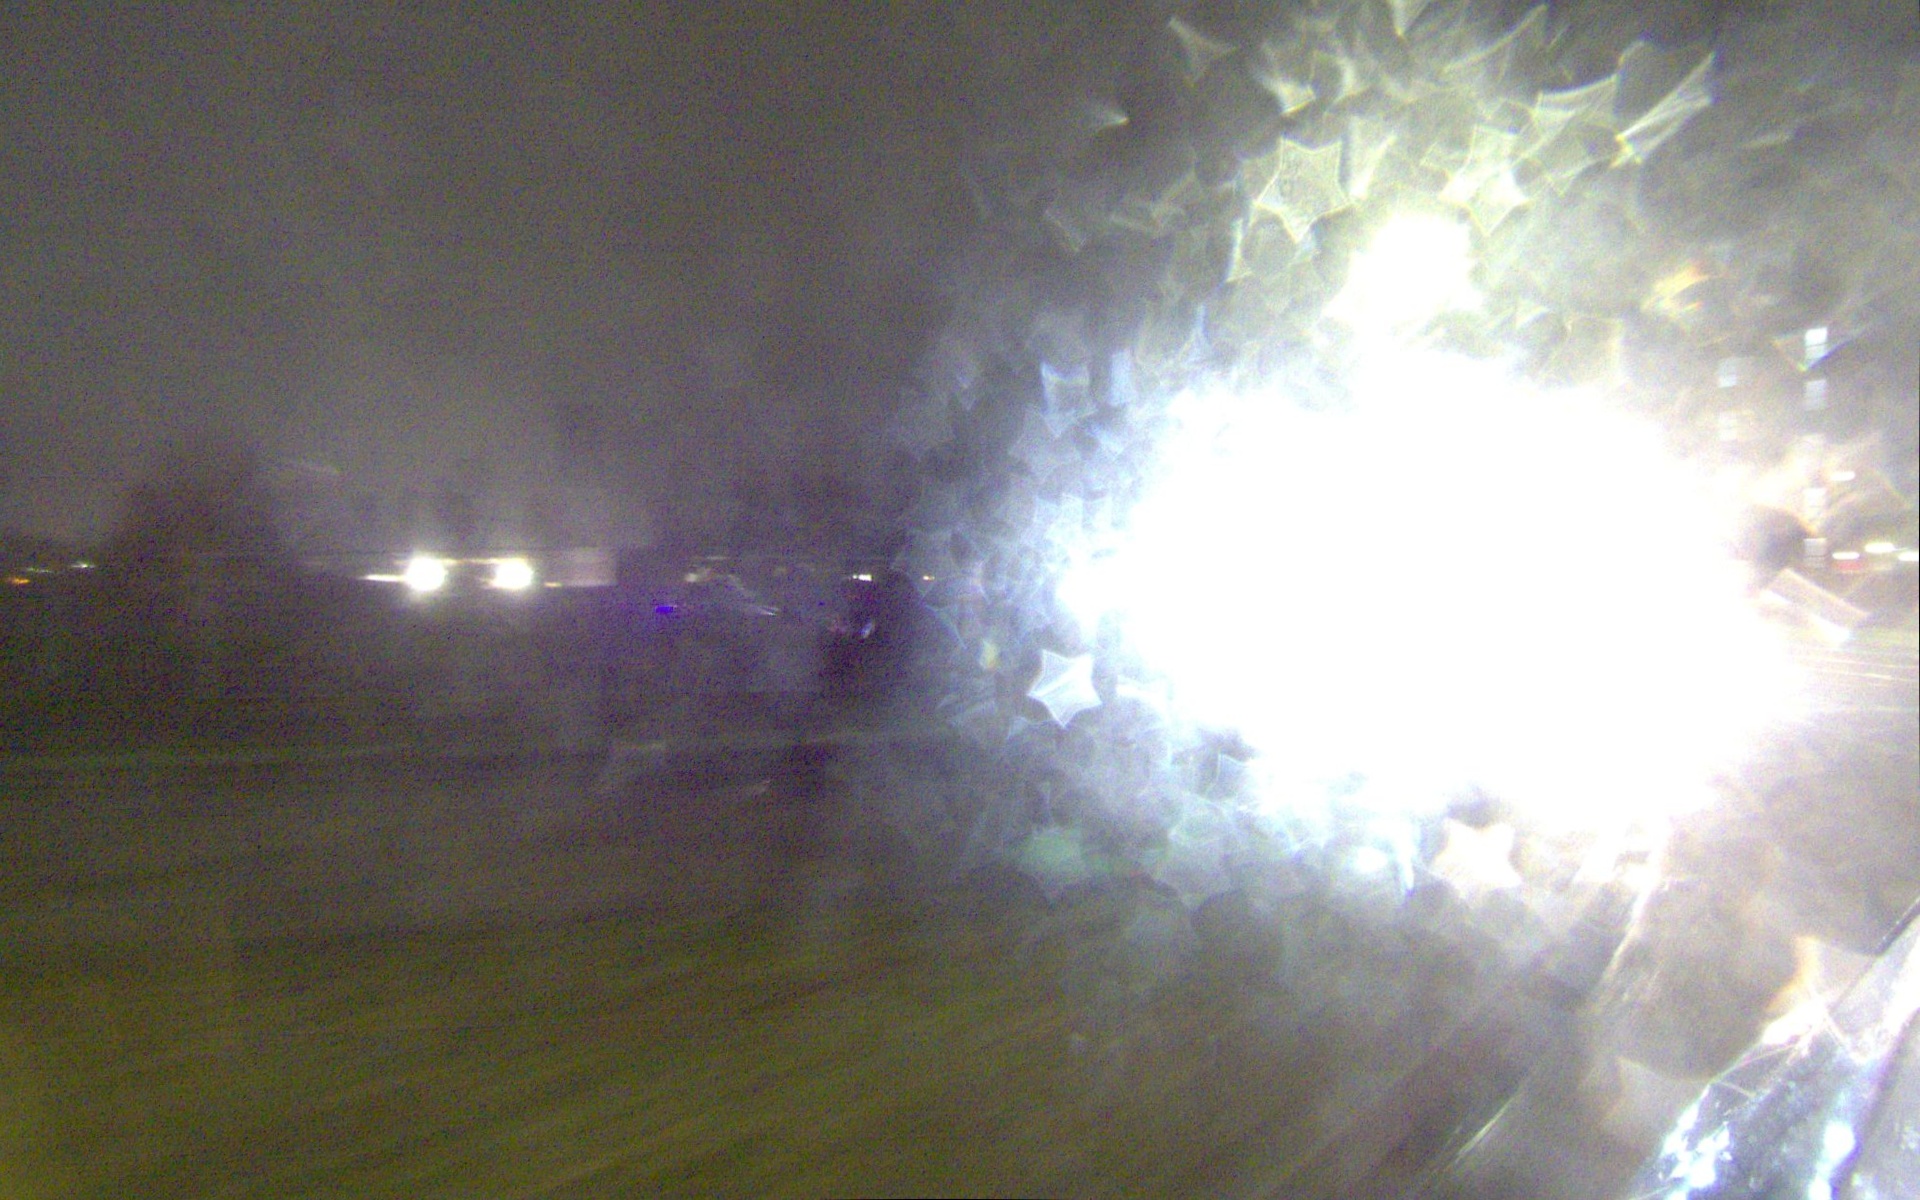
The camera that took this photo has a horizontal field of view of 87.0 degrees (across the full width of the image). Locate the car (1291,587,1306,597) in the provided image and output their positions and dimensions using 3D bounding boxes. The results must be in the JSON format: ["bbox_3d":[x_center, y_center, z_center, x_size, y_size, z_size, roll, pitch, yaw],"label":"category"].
[{"bbox_3d":[61.378,-1.536,183.481,1.998,1.705,4.535,-2,1,10],"label":"car"}]

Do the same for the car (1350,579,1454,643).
[{"bbox_3d":[13.315,0.273,30.789,1.921,1.741,4.428,-2,1,11],"label":"car"}]

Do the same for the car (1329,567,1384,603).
[{"bbox_3d":[20.016,-0.763,51.248,1.806,1.727,4.181,-2,1,11],"label":"car"}]

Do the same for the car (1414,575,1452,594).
[{"bbox_3d":[40.237,-1.302,86.120,1.804,1.482,3.991,-2,1,8],"label":"car"}]

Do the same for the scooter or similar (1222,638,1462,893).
[{"bbox_3d":[1.904,0.780,5.120,1.099,1.111,0.313,1,2,40],"label":"scooter or similar"}]

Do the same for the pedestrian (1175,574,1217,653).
[{"bbox_3d":[4.651,0.256,19.974,0.716,1.504,0.833,-2,0,11],"label":"pedestrian"}]

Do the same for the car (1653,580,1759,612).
[{"bbox_3d":[36.678,-0.225,49.943,1.967,1.420,5.336,-2,1,10],"label":"car"}]

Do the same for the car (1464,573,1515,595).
[{"bbox_3d":[37.470,-1.128,71.732,1.805,1.482,4.648,-2,1,9],"label":"car"}]

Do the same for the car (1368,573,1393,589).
[{"bbox_3d":[49.737,-2.263,119.759,1.806,1.735,4.427,-2,1,11],"label":"car"}]

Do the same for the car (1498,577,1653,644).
[{"bbox_3d":[15.807,0.210,26.324,1.806,1.546,4.859,-2,1,11],"label":"car"}]
